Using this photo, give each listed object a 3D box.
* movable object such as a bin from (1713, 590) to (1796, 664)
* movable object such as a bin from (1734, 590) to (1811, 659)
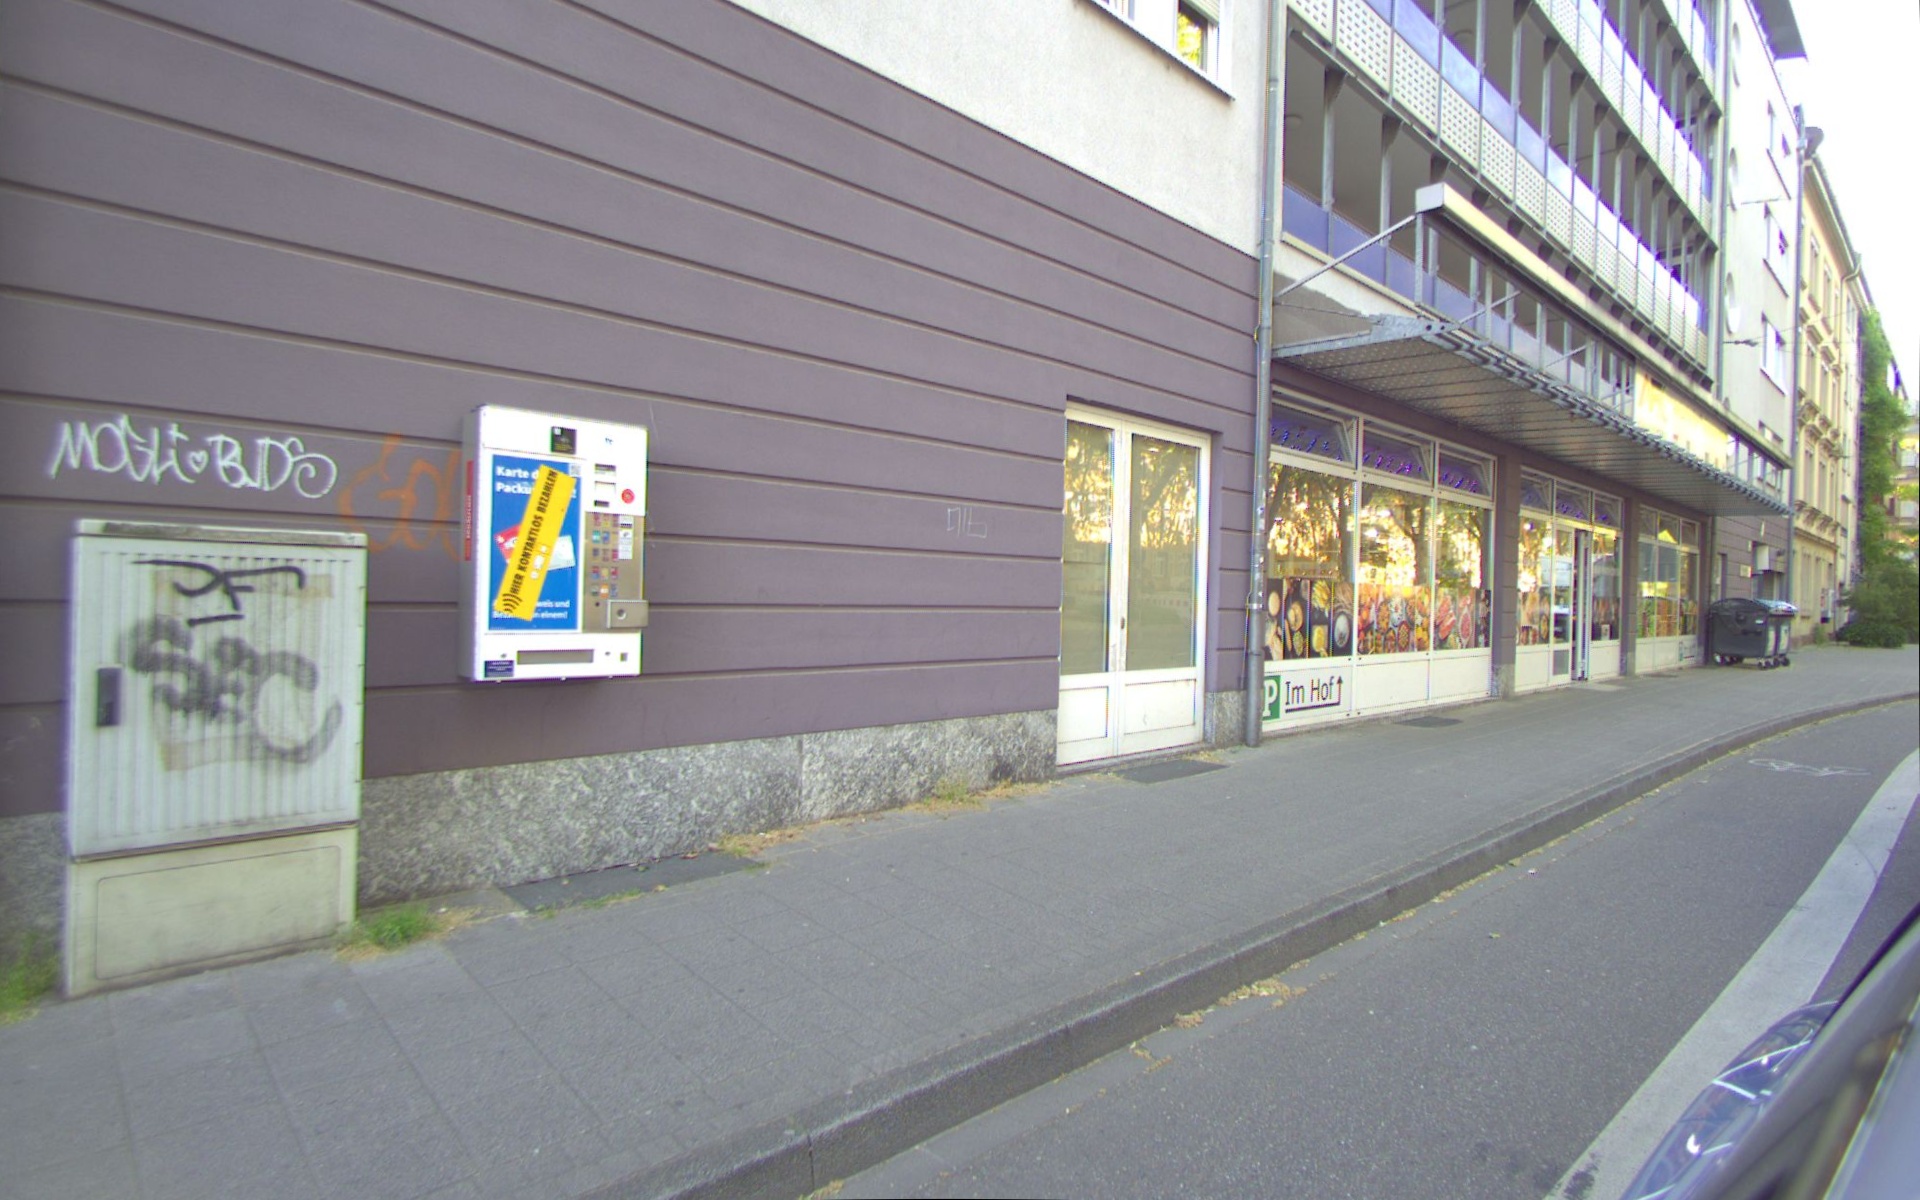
[{"bbox_3d":[16.307,0.535,20.784,0.923,1.444,1.158,1,1,-40],"label":"movable object such as a bin"},{"bbox_3d":[17.776,0.516,22.147,0.923,1.444,1.158,1,1,-40],"label":"movable object such as a bin"}]
